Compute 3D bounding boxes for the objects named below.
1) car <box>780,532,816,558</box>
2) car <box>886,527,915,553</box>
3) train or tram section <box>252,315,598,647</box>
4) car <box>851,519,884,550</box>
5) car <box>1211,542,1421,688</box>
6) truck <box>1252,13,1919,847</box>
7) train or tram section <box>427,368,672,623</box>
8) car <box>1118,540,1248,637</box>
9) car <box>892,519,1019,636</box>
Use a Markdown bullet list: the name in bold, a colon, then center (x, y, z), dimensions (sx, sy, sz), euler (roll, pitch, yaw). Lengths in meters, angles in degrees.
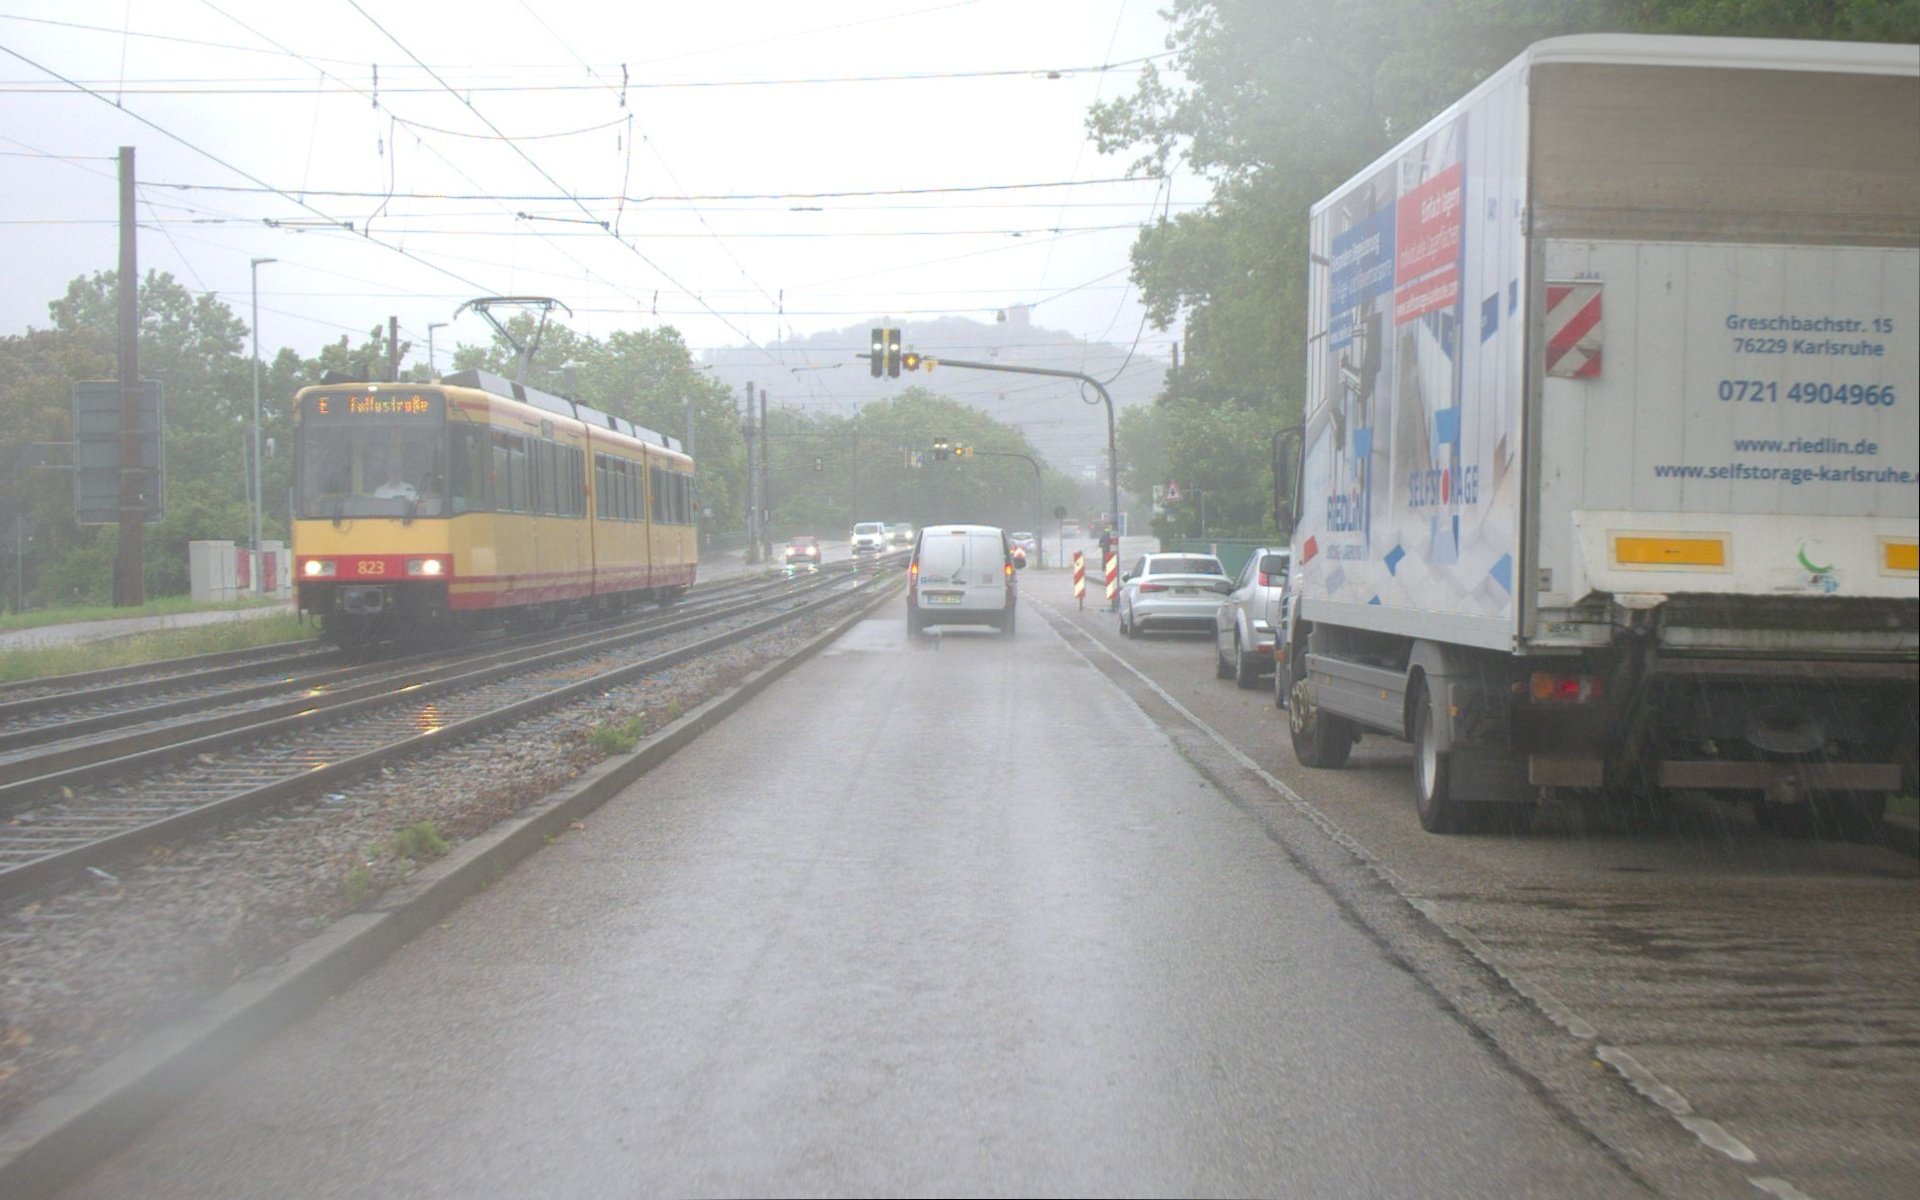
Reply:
- **car**: center (-9.086, -3.098, 193.316), dimensions (1.819, 1.393, 4.000), euler (-1, 1, 0)
- **car**: center (-4.411, -4.445, 255.454), dimensions (1.993, 1.941, 4.000), euler (0, 0, 1)
- **train or tram section**: center (-7.346, -1.591, 49.305), dimensions (2.806, 4.135, 13.019), euler (0, 1, 1)
- **car**: center (-6.164, -4.396, 230.026), dimensions (1.993, 2.007, 4.000), euler (0, 0, 1)
- **car**: center (3.793, 0.138, 37.267), dimensions (1.812, 1.454, 4.346), euler (1, 1, 0)
- **truck**: center (3.688, -0.777, 20.189), dimensions (2.775, 3.691, 9.853), euler (0, 0, -2)
- **train or tram section**: center (-7.215, -1.772, 62.340), dimensions (2.806, 4.135, 13.019), euler (0, 1, 0)
- **car**: center (3.624, -0.223, 56.549), dimensions (1.819, 1.481, 4.481), euler (1, 1, 0)
- **car**: center (-0.046, -0.384, 56.357), dimensions (1.993, 1.842, 4.000), euler (0, 1, 1)
